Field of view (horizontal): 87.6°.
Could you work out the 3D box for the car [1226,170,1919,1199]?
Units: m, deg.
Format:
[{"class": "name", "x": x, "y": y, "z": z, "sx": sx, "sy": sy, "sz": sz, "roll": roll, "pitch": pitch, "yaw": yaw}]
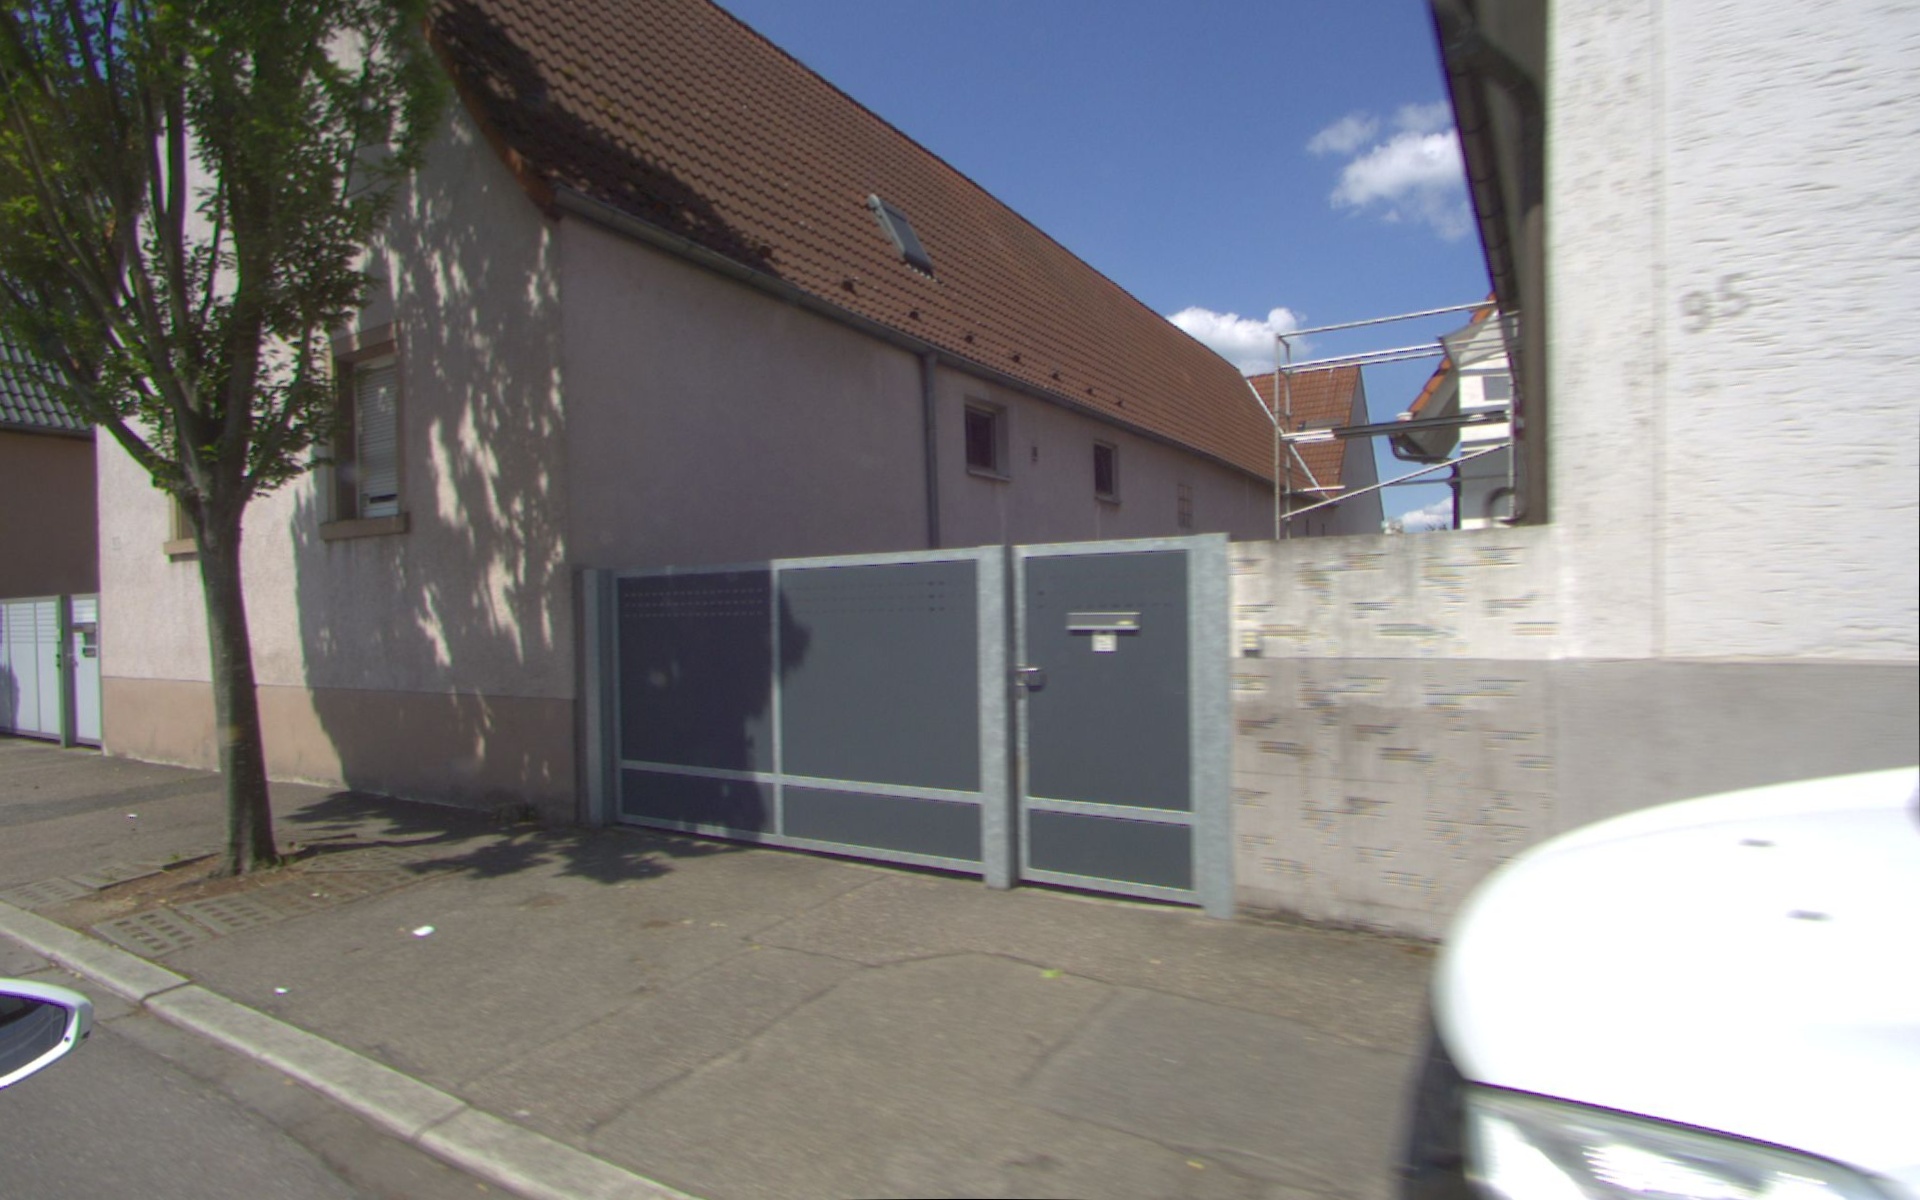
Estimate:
[{"class": "car", "x": 2.768, "y": 0.505, "z": 0.702, "sx": 4.694, "sy": 1.868, "sz": 1.684, "roll": -1, "pitch": 2, "yaw": 31}]
